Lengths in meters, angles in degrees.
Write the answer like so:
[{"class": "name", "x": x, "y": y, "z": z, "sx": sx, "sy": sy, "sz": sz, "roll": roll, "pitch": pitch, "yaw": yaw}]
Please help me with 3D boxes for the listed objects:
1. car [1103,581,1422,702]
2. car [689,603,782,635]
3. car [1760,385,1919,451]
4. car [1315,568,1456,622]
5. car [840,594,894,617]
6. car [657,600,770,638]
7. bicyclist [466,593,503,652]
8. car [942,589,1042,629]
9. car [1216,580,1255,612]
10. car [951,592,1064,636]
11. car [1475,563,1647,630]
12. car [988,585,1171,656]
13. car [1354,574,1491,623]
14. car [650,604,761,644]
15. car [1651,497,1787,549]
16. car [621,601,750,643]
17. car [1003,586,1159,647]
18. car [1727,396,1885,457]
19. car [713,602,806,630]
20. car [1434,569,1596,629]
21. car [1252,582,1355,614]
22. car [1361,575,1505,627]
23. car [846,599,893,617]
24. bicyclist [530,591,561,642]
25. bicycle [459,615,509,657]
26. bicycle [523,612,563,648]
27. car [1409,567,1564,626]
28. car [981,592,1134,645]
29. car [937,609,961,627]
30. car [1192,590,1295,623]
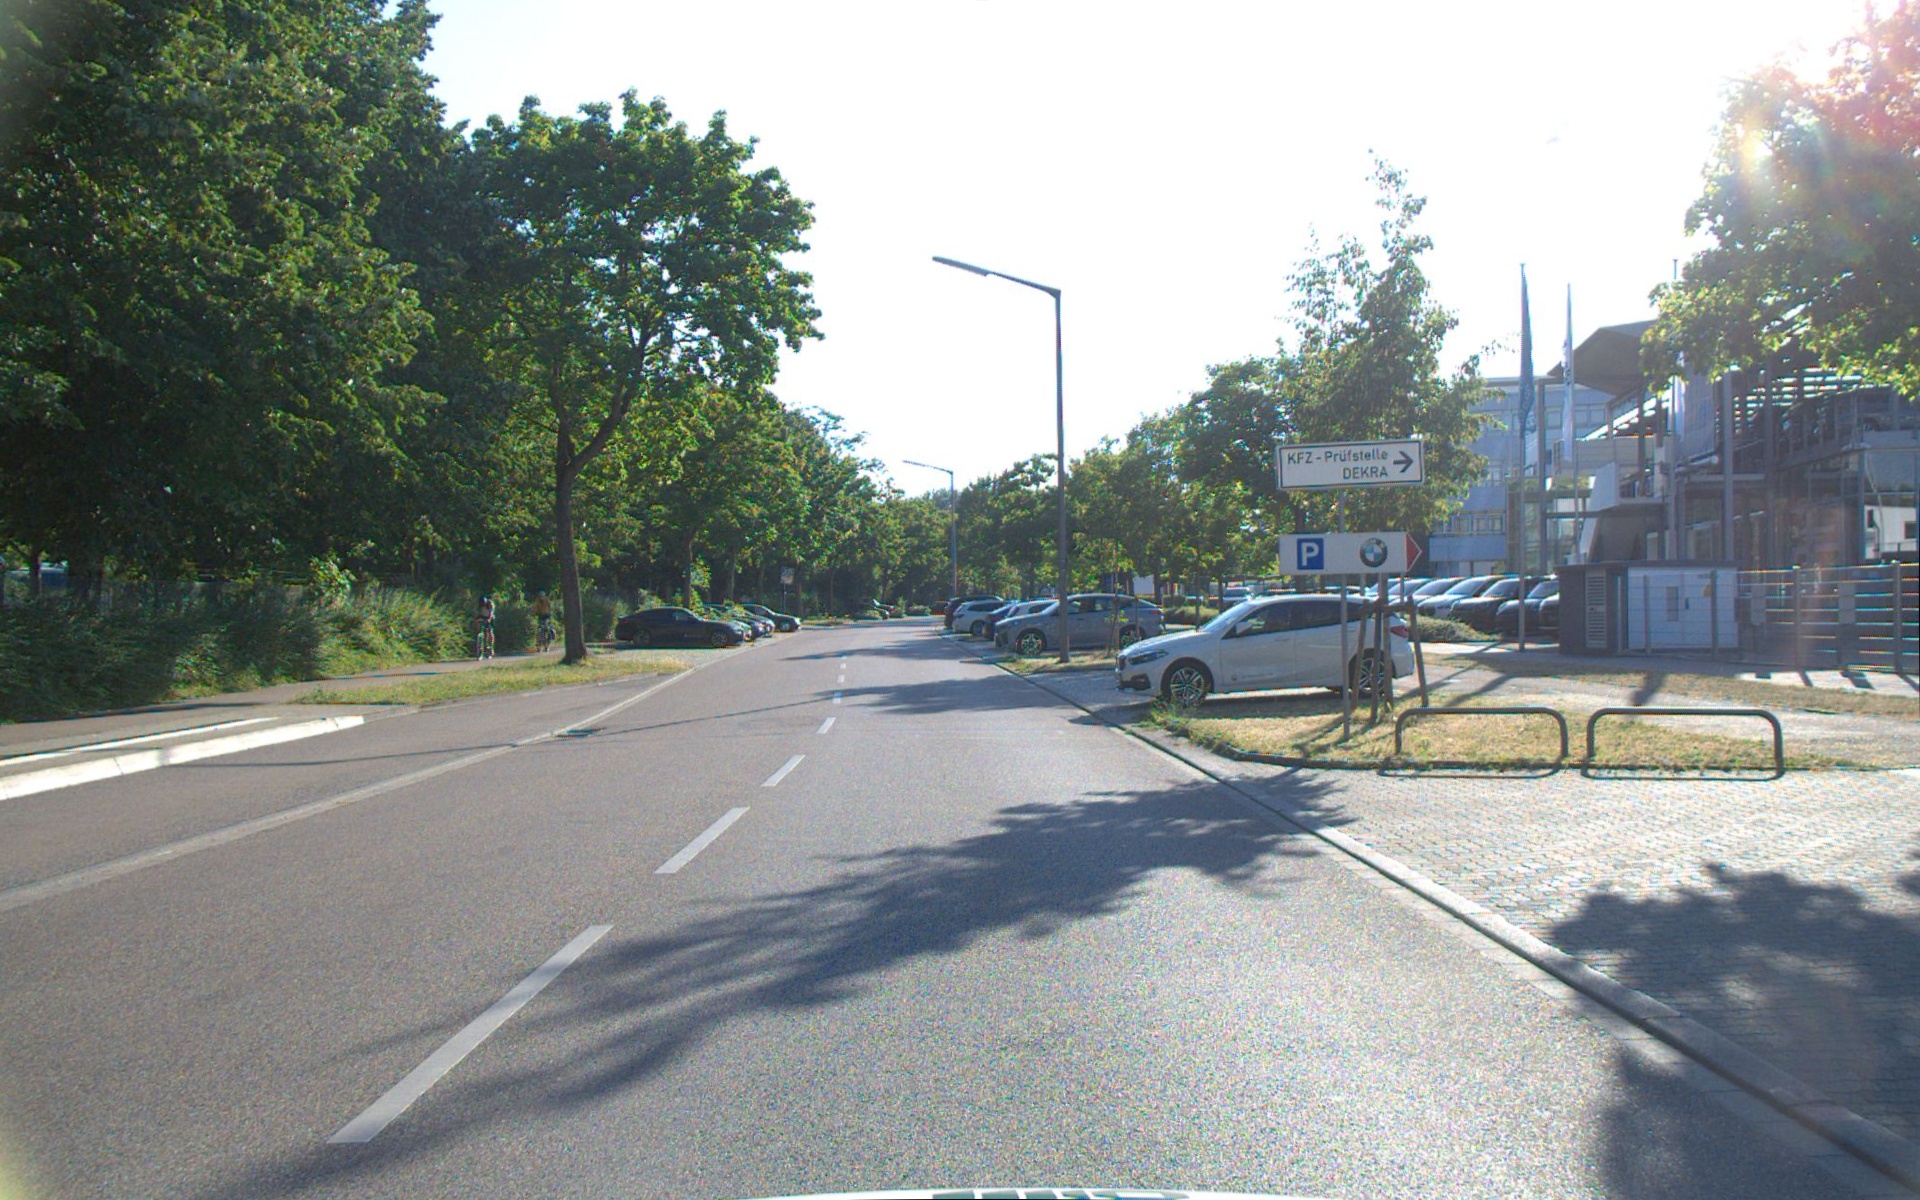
[{"class": "car", "x": 4.297, "y": 0.573, "z": 23.959, "sx": 4.116, "sy": 1.469, "sz": 2.086, "roll": -3, "pitch": 0, "yaw": -5}, {"class": "car", "x": -11.126, "y": 0.931, "z": 82.103, "sx": 4.390, "sy": 1.487, "sz": 1.999, "roll": 1, "pitch": 0, "yaw": -3}, {"class": "car", "x": 25.396, "y": -5.223, "z": 47.582, "sx": 3.902, "sy": 1.695, "sz": 1.789, "roll": 1, "pitch": 1, "yaw": 11}, {"class": "car", "x": 15.687, "y": -0.183, "z": 60.897, "sx": 4.664, "sy": 1.720, "sz": 2.387, "roll": -3, "pitch": 0, "yaw": -30}, {"class": "car", "x": -8.819, "y": 0.521, "z": 157.086, "sx": 4.899, "sy": 2.055, "sz": 2.176, "roll": -1, "pitch": 0, "yaw": 5}, {"class": "car", "x": -10.694, "y": 0.822, "z": 72.000, "sx": 4.756, "sy": 1.557, "sz": 1.998, "roll": 1, "pitch": 0, "yaw": -6}, {"class": "bicyclist", "x": -12.750, "y": 0.591, "z": 44.369, "sx": 0.716, "sy": 1.557, "sz": 0.951, "roll": -2, "pitch": 0, "yaw": -3}, {"class": "car", "x": 1.506, "y": 0.410, "z": 77.313, "sx": 4.597, "sy": 1.781, "sz": 2.192, "roll": -1, "pitch": 0, "yaw": 2}, {"class": "car", "x": 16.718, "y": -0.266, "z": 100.212, "sx": 1.988, "sy": 1.860, "sz": 4.980, "roll": -1, "pitch": 0, "yaw": 13}, {"class": "car", "x": 1.974, "y": 0.562, "z": 69.730, "sx": 4.602, "sy": 1.504, "sz": 2.000, "roll": -3, "pitch": 3, "yaw": -3}, {"class": "car", "x": 16.597, "y": -0.114, "z": 45.651, "sx": 4.541, "sy": 1.695, "sz": 1.980, "roll": -2, "pitch": 0, "yaw": -30}, {"class": "car", "x": 3.129, "y": 0.517, "z": 43.771, "sx": 4.502, "sy": 1.612, "sz": 1.998, "roll": -3, "pitch": 0, "yaw": -6}, {"class": "car", "x": 16.177, "y": -0.055, "z": 57.839, "sx": 4.541, "sy": 1.602, "sz": 1.980, "roll": -1, "pitch": -2, "yaw": -30}, {"class": "car", "x": -10.260, "y": 0.969, "z": 66.867, "sx": 4.200, "sy": 1.557, "sz": 1.999, "roll": 1, "pitch": 0, "yaw": -2}, {"class": "car", "x": 26.210, "y": -2.647, "z": 57.212, "sx": 3.902, "sy": 1.695, "sz": 1.789, "roll": 1, "pitch": 1, "yaw": 10}, {"class": "car", "x": -10.091, "y": 0.804, "z": 61.070, "sx": 4.558, "sy": 1.446, "sz": 1.915, "roll": 1, "pitch": 0, "yaw": -5}, {"class": "car", "x": 3.492, "y": 0.466, "z": 48.211, "sx": 4.289, "sy": 1.505, "sz": 1.999, "roll": -3, "pitch": 0, "yaw": -3}, {"class": "car", "x": 25.640, "y": -5.258, "z": 50.268, "sx": 3.902, "sy": 1.695, "sz": 1.789, "roll": 1, "pitch": 1, "yaw": 11}, {"class": "car", "x": -11.089, "y": 0.866, "z": 91.708, "sx": 4.934, "sy": 1.487, "sz": 1.999, "roll": 1, "pitch": 0, "yaw": -3}, {"class": "car", "x": 16.348, "y": -0.036, "z": 48.674, "sx": 4.541, "sy": 1.601, "sz": 1.980, "roll": -2, "pitch": 0, "yaw": -30}, {"class": "car", "x": 17.488, "y": -0.117, "z": 84.301, "sx": 4.698, "sy": 1.489, "sz": 2.037, "roll": -2, "pitch": 0, "yaw": 39}, {"class": "car", "x": 15.715, "y": 0.029, "z": 54.888, "sx": 4.541, "sy": 1.601, "sz": 1.980, "roll": -2, "pitch": 0, "yaw": -30}, {"class": "car", "x": -8.355, "y": 0.763, "z": 153.053, "sx": 4.123, "sy": 1.557, "sz": 1.706, "roll": -1, "pitch": 0, "yaw": 5}, {"class": "bicyclist", "x": -13.028, "y": 0.523, "z": 52.003, "sx": 0.716, "sy": 1.557, "sz": 0.951, "roll": -2, "pitch": 0, "yaw": -3}, {"class": "bicycle", "x": -12.742, "y": 0.942, "z": 44.335, "sx": 0.750, "sy": 1.057, "sz": 2.216, "roll": -2, "pitch": 0, "yaw": -3}, {"class": "bicycle", "x": -13.059, "y": 0.932, "z": 51.812, "sx": 0.750, "sy": 1.057, "sz": 2.216, "roll": -2, "pitch": 0, "yaw": -3}, {"class": "car", "x": 16.326, "y": -0.105, "z": 51.298, "sx": 4.539, "sy": 1.601, "sz": 1.981, "roll": -3, "pitch": 0, "yaw": -29}, {"class": "car", "x": 2.977, "y": 0.549, "z": 51.287, "sx": 4.532, "sy": 1.481, "sz": 1.999, "roll": -2, "pitch": 0, "yaw": -3}, {"class": "car", "x": -1.054, "y": 1.739, "z": 161.329, "sx": 1.951, "sy": 1.747, "sz": 4.003, "roll": 0, "pitch": 0, "yaw": 5}, {"class": "car", "x": 14.183, "y": 0.328, "z": 82.760, "sx": 4.698, "sy": 1.489, "sz": 1.991, "roll": -2, "pitch": 0, "yaw": 39}]
